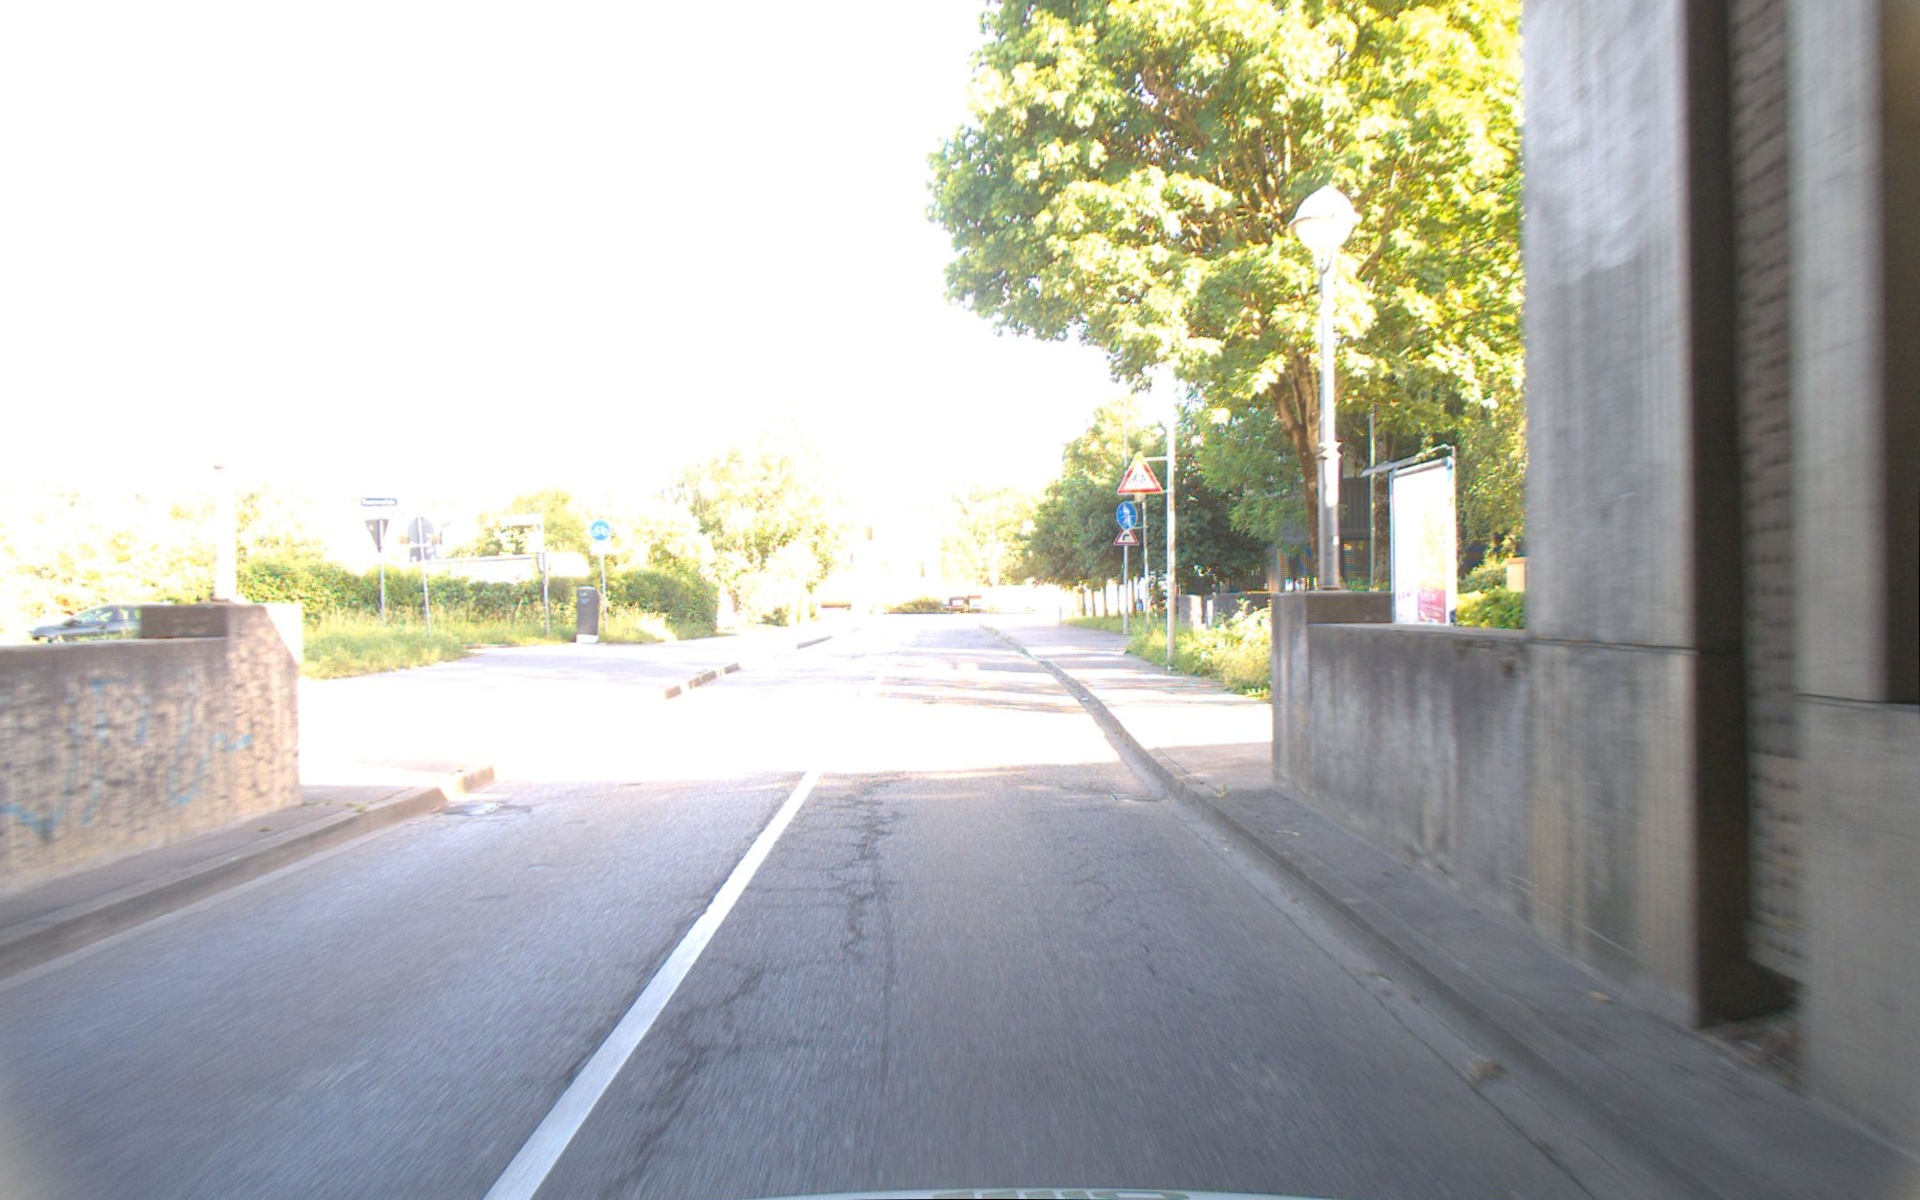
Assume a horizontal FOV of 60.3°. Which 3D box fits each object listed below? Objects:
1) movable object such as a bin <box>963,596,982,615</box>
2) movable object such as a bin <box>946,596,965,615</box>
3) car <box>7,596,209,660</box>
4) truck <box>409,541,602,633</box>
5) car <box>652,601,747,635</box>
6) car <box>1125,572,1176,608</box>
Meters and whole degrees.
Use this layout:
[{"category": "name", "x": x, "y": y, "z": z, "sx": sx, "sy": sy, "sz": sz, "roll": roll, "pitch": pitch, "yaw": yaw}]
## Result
[{"category": "movable object such as a bin", "x": 1.019, "y": 0.444, "z": 130.420, "sx": 1.339, "sy": 1.443, "sz": 1.064, "roll": 1, "pitch": -1, "yaw": -8}, {"category": "movable object such as a bin", "x": -0.352, "y": 0.411, "z": 130.190, "sx": 1.339, "sy": 1.443, "sz": 1.064, "roll": 1, "pitch": -1, "yaw": -8}, {"category": "car", "x": -20.485, "y": 0.683, "z": 39.942, "sx": 3.955, "sy": 1.473, "sz": 1.882, "roll": 0, "pitch": -2, "yaw": -14}, {"category": "truck", "x": -20.673, "y": -0.497, "z": 74.977, "sx": 9.127, "sy": 3.952, "sz": 2.707, "roll": -1, "pitch": -2, "yaw": 29}, {"category": "car", "x": -12.391, "y": 0.864, "z": 78.742, "sx": 4.128, "sy": 1.516, "sz": 1.875, "roll": 1, "pitch": -1, "yaw": 26}, {"category": "car", "x": 10.309, "y": -0.520, "z": 89.779, "sx": 1.799, "sy": 1.846, "sz": 4.660, "roll": 1, "pitch": -1, "yaw": -5}]
